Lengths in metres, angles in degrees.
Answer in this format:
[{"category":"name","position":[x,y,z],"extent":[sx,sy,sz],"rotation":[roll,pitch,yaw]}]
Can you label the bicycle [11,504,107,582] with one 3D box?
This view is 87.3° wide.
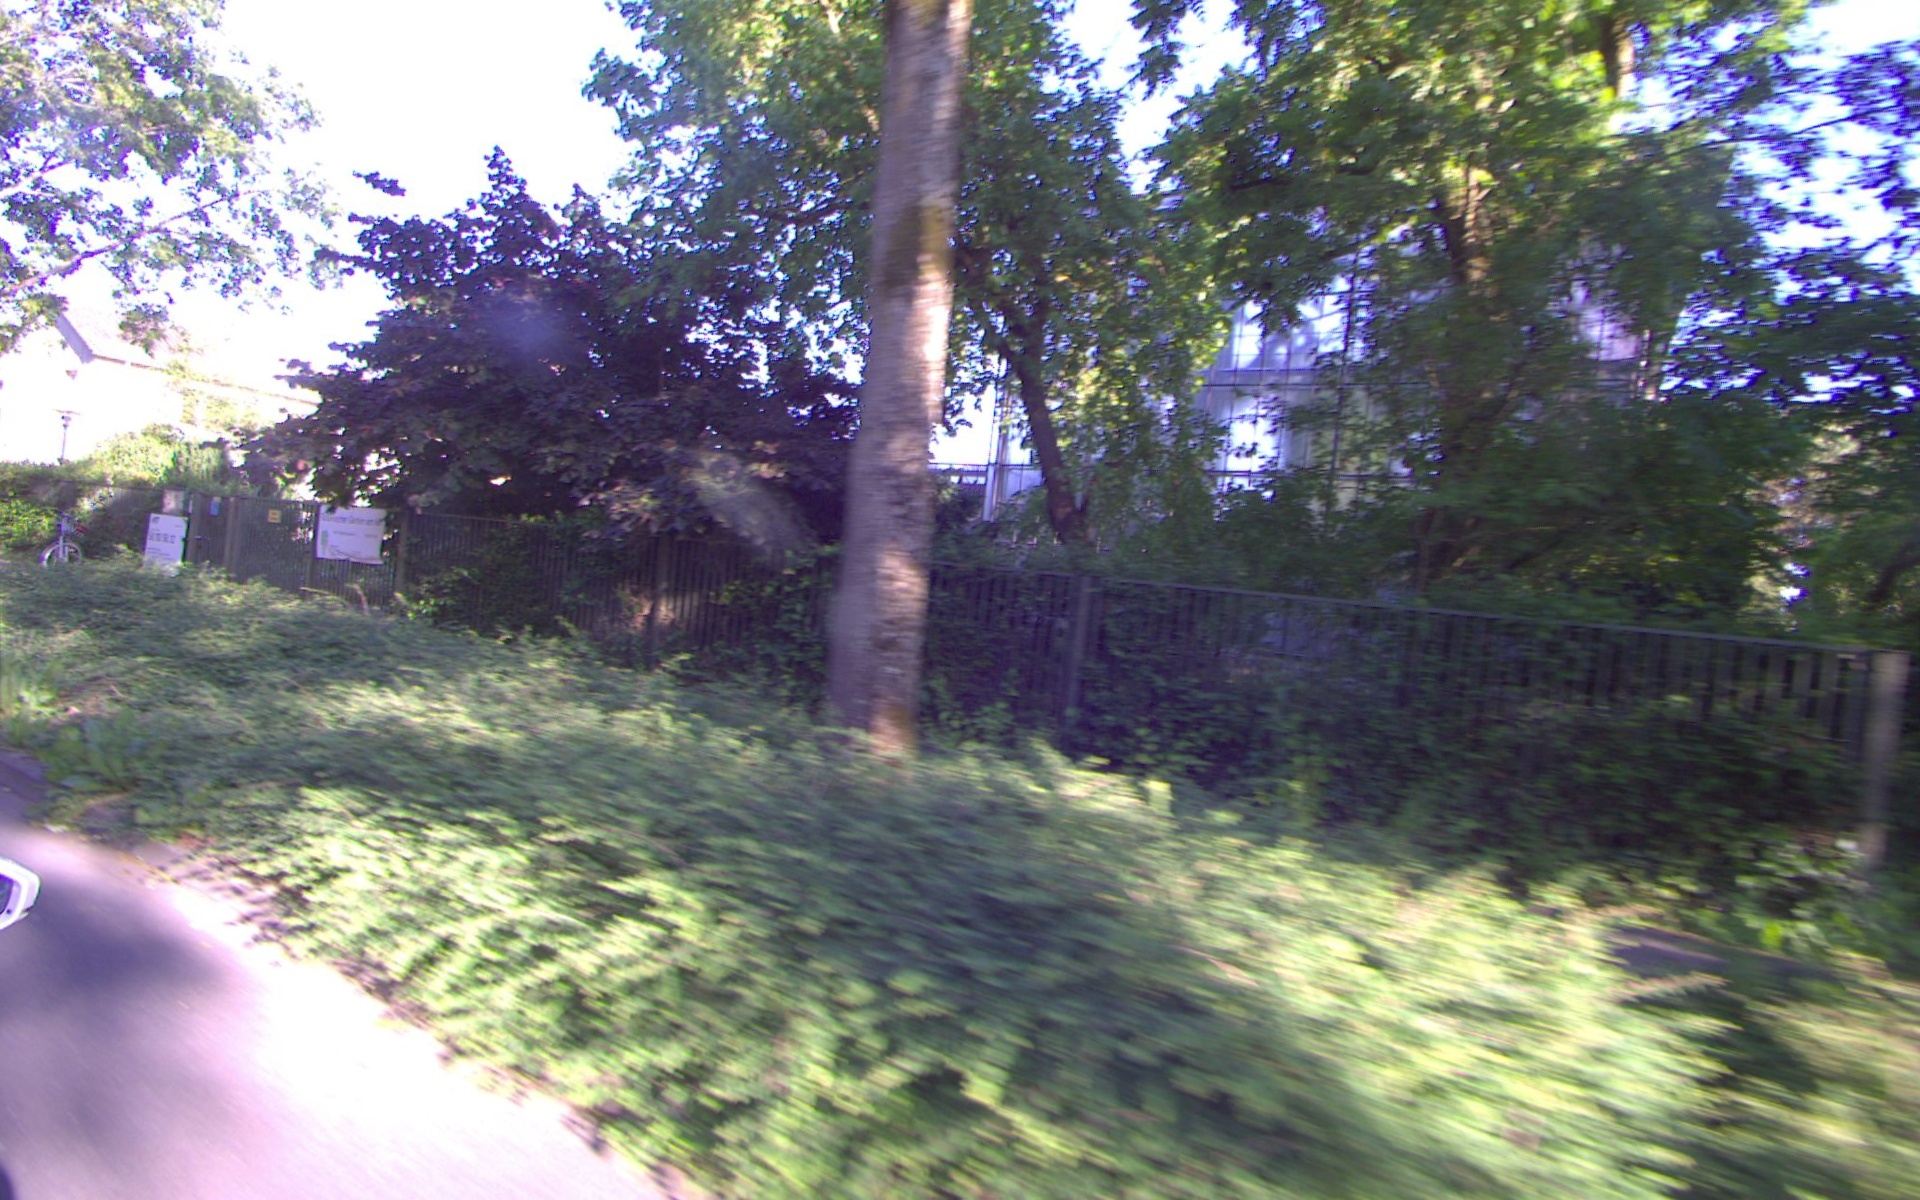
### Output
[{"category":"bicycle","position":[-16.004,-1.031,17.929],"extent":[0.877,1.216,2.305],"rotation":[5,2,-34]}]
